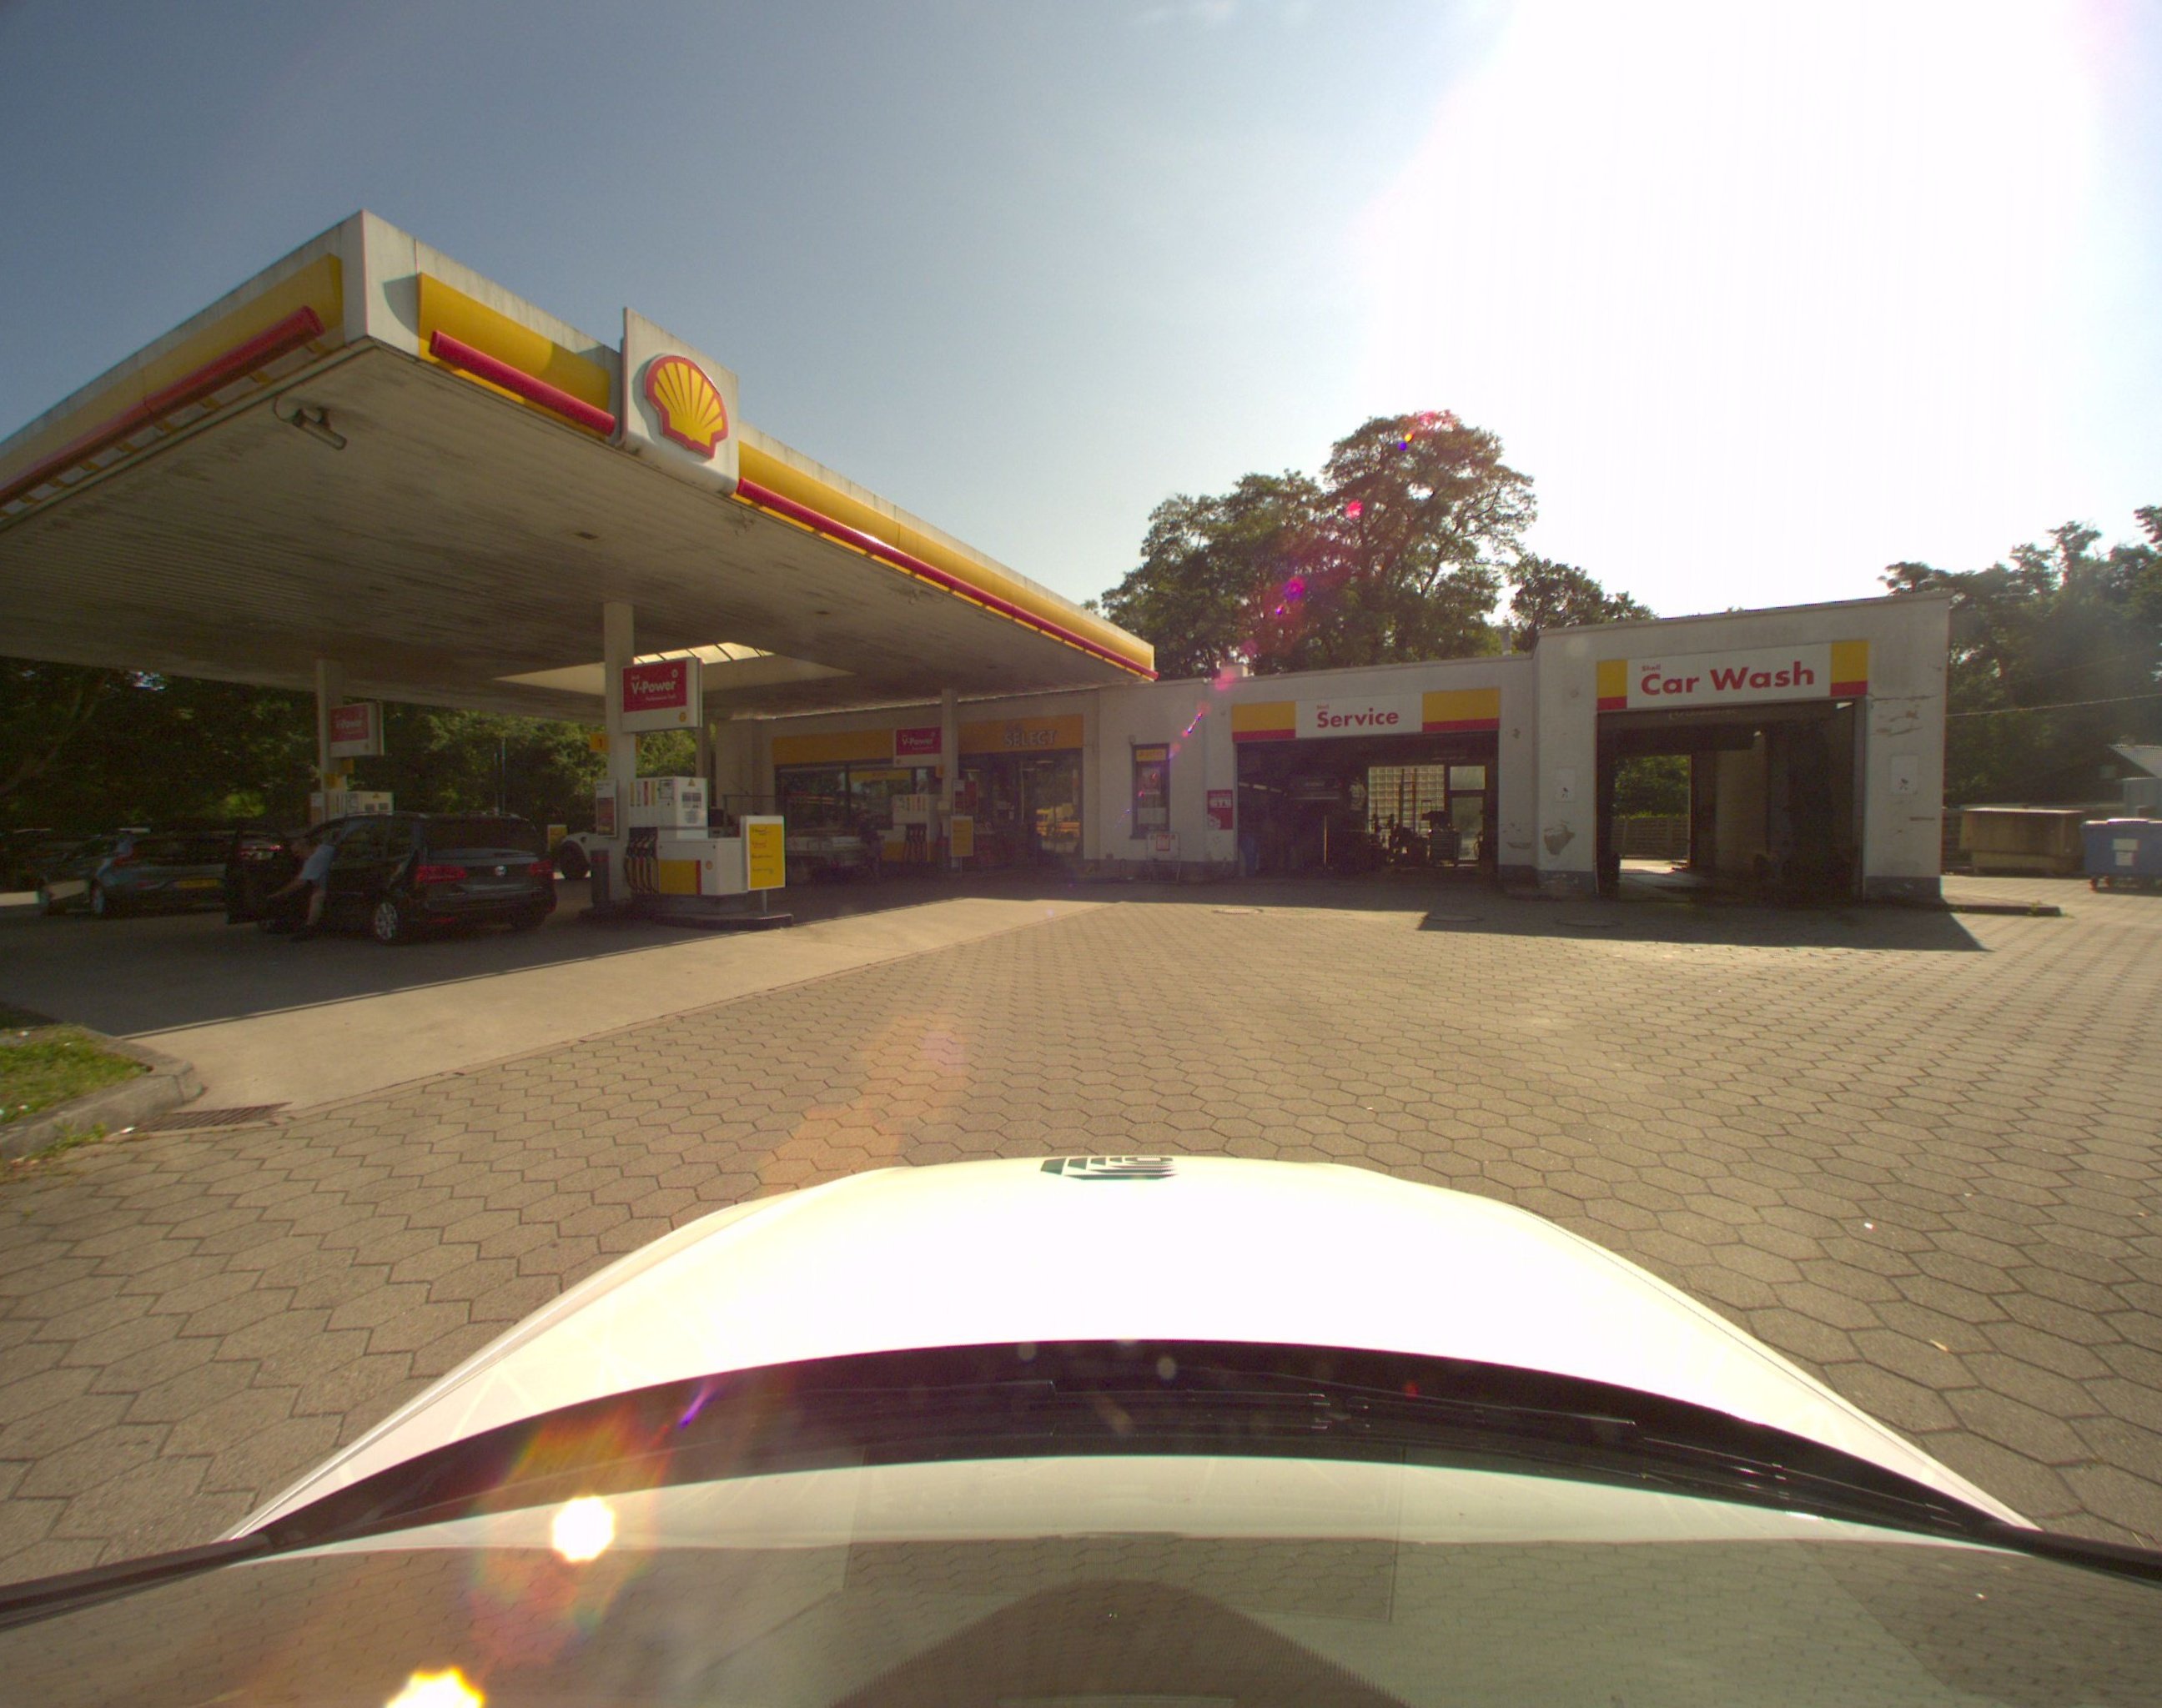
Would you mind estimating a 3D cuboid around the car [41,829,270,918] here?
[{"bbox_3d":[-16.250,0.263,14.291,3.799,1.360,1.815,0,2,29],"label":"car"}]

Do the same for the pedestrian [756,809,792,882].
[{"bbox_3d":[-6.766,-0.190,17.961,0.469,1.593,0.504,0,2,30],"label":"pedestrian"}]

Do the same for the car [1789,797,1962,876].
[{"bbox_3d":[17.429,-0.360,18.070,1.705,1.575,3.412,0,0,25],"label":"car"}]

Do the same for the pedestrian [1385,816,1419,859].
[{"bbox_3d":[9.216,-0.461,23.390,0.855,1.198,0.747,0,0,25],"label":"pedestrian"}]

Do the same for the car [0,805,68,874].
[{"bbox_3d":[-29.740,-0.369,21.962,3.951,1.765,2.011,0,0,23],"label":"car"}]

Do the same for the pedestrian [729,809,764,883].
[{"bbox_3d":[-7.571,-0.186,18.415,0.469,1.631,0.504,0,2,30],"label":"pedestrian"}]

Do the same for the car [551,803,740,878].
[{"bbox_3d":[-11.550,-0.367,21.598,4.722,1.837,1.868,0,2,24],"label":"car"}]

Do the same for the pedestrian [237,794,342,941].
[{"bbox_3d":[-9.798,0.146,10.087,0.802,1.728,0.678,0,2,30],"label":"pedestrian"}]

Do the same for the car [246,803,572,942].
[{"bbox_3d":[-8.937,0.173,10.847,3.830,1.578,1.776,0,2,24],"label":"car"}]

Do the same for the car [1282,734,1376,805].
[{"bbox_3d":[6.694,-2.152,21.723,1.631,1.486,4.024,0,0,28],"label":"car"}]

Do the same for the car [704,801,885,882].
[{"bbox_3d":[-6.801,-0.302,19.280,3.949,1.727,1.845,0,2,30],"label":"car"}]

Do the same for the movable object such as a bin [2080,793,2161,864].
[{"bbox_3d":[20.364,-0.491,15.677,0.850,1.325,1.227,-2,2,-21],"label":"movable object such as a bin"}]

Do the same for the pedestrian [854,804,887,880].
[{"bbox_3d":[-4.750,-0.276,18.355,0.494,1.668,0.478,0,2,27],"label":"pedestrian"}]

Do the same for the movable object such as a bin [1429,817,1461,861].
[{"bbox_3d":[10.344,-0.411,23.127,0.789,1.236,0.548,0,0,28],"label":"movable object such as a bin"}]
